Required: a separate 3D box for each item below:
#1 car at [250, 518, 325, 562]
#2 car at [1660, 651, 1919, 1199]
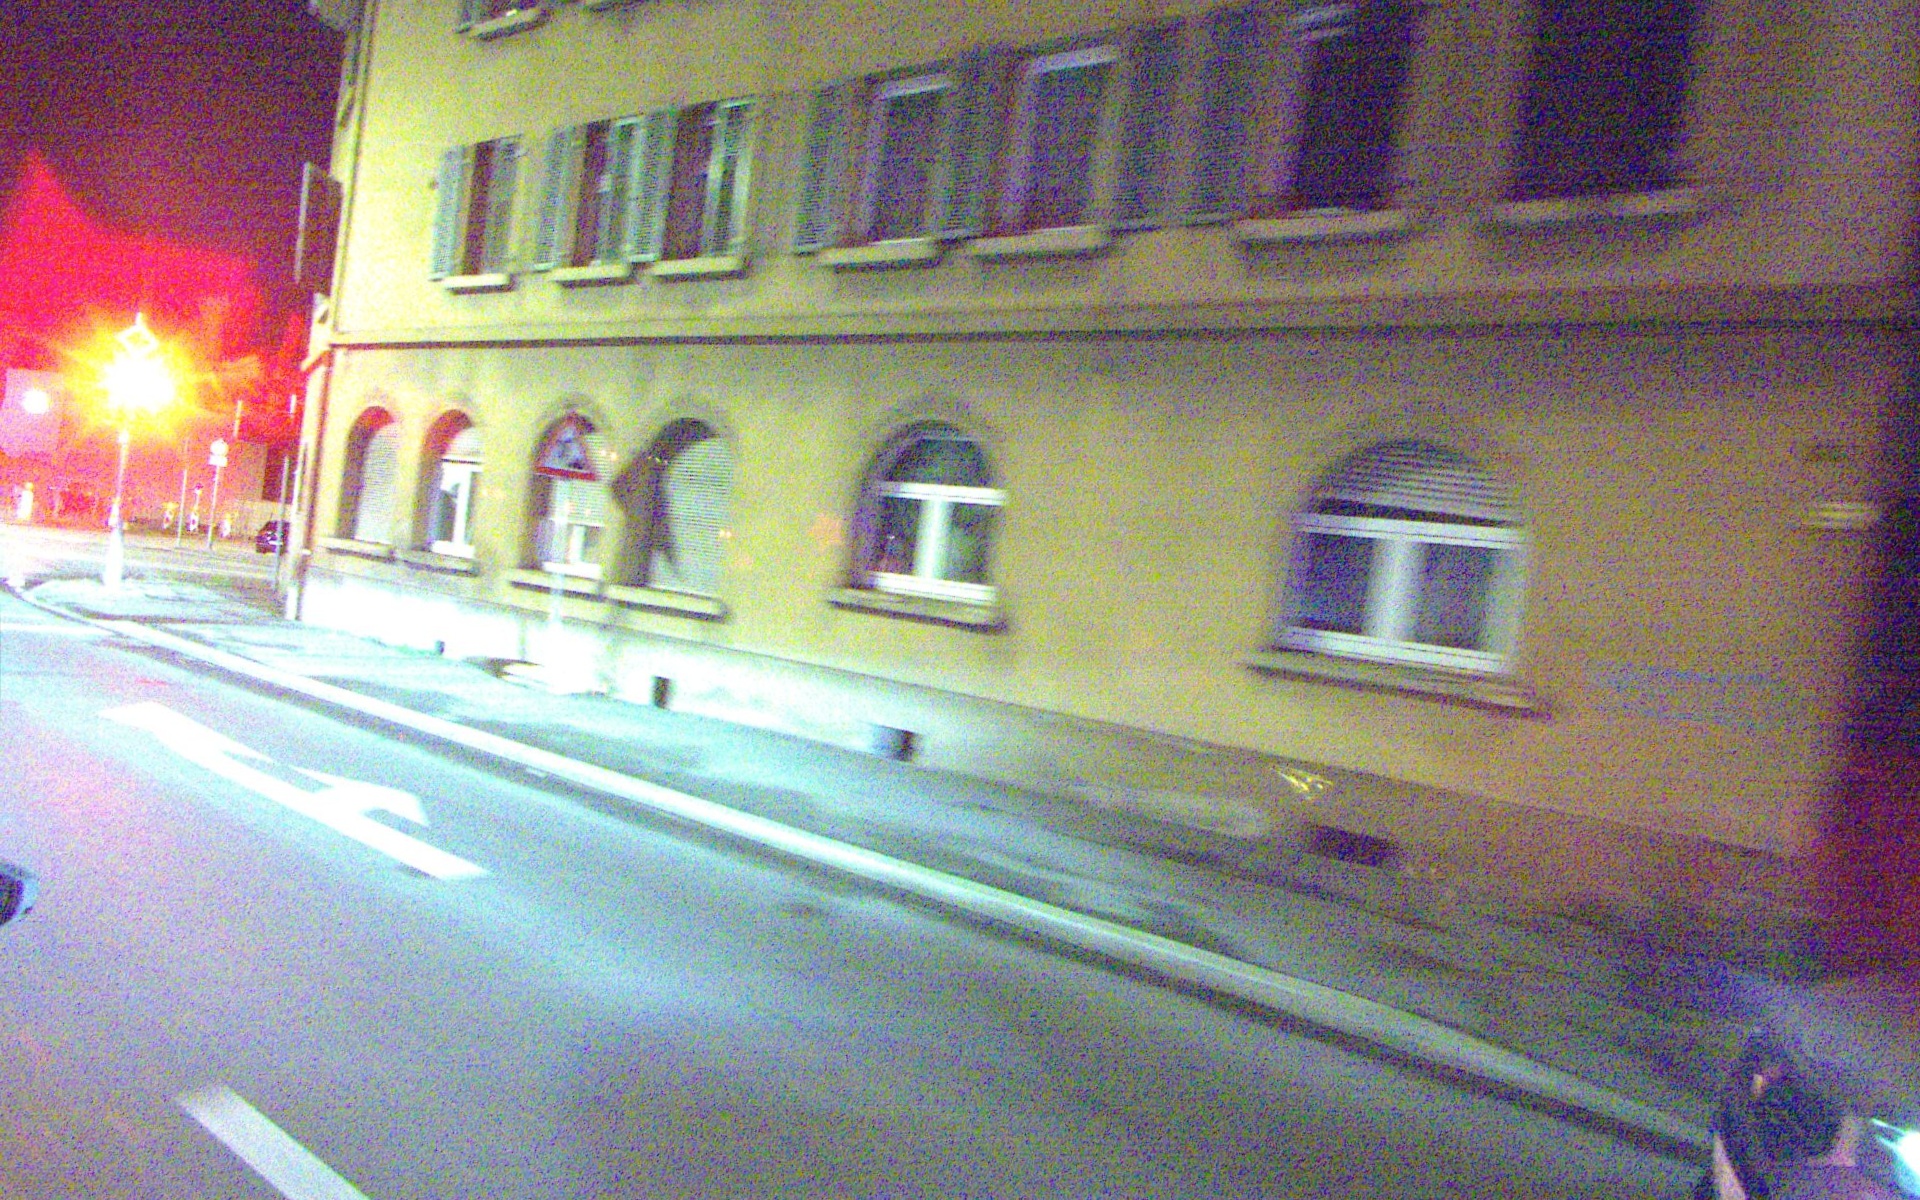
[{"bbox_3d":[-30.604,-2.690,45.881,1.707,1.631,3.612,7,-1,-16],"label":"car"},{"bbox_3d":[3.471,1.145,1.142,4.159,1.629,1.673,6,-1,32],"label":"car"}]
